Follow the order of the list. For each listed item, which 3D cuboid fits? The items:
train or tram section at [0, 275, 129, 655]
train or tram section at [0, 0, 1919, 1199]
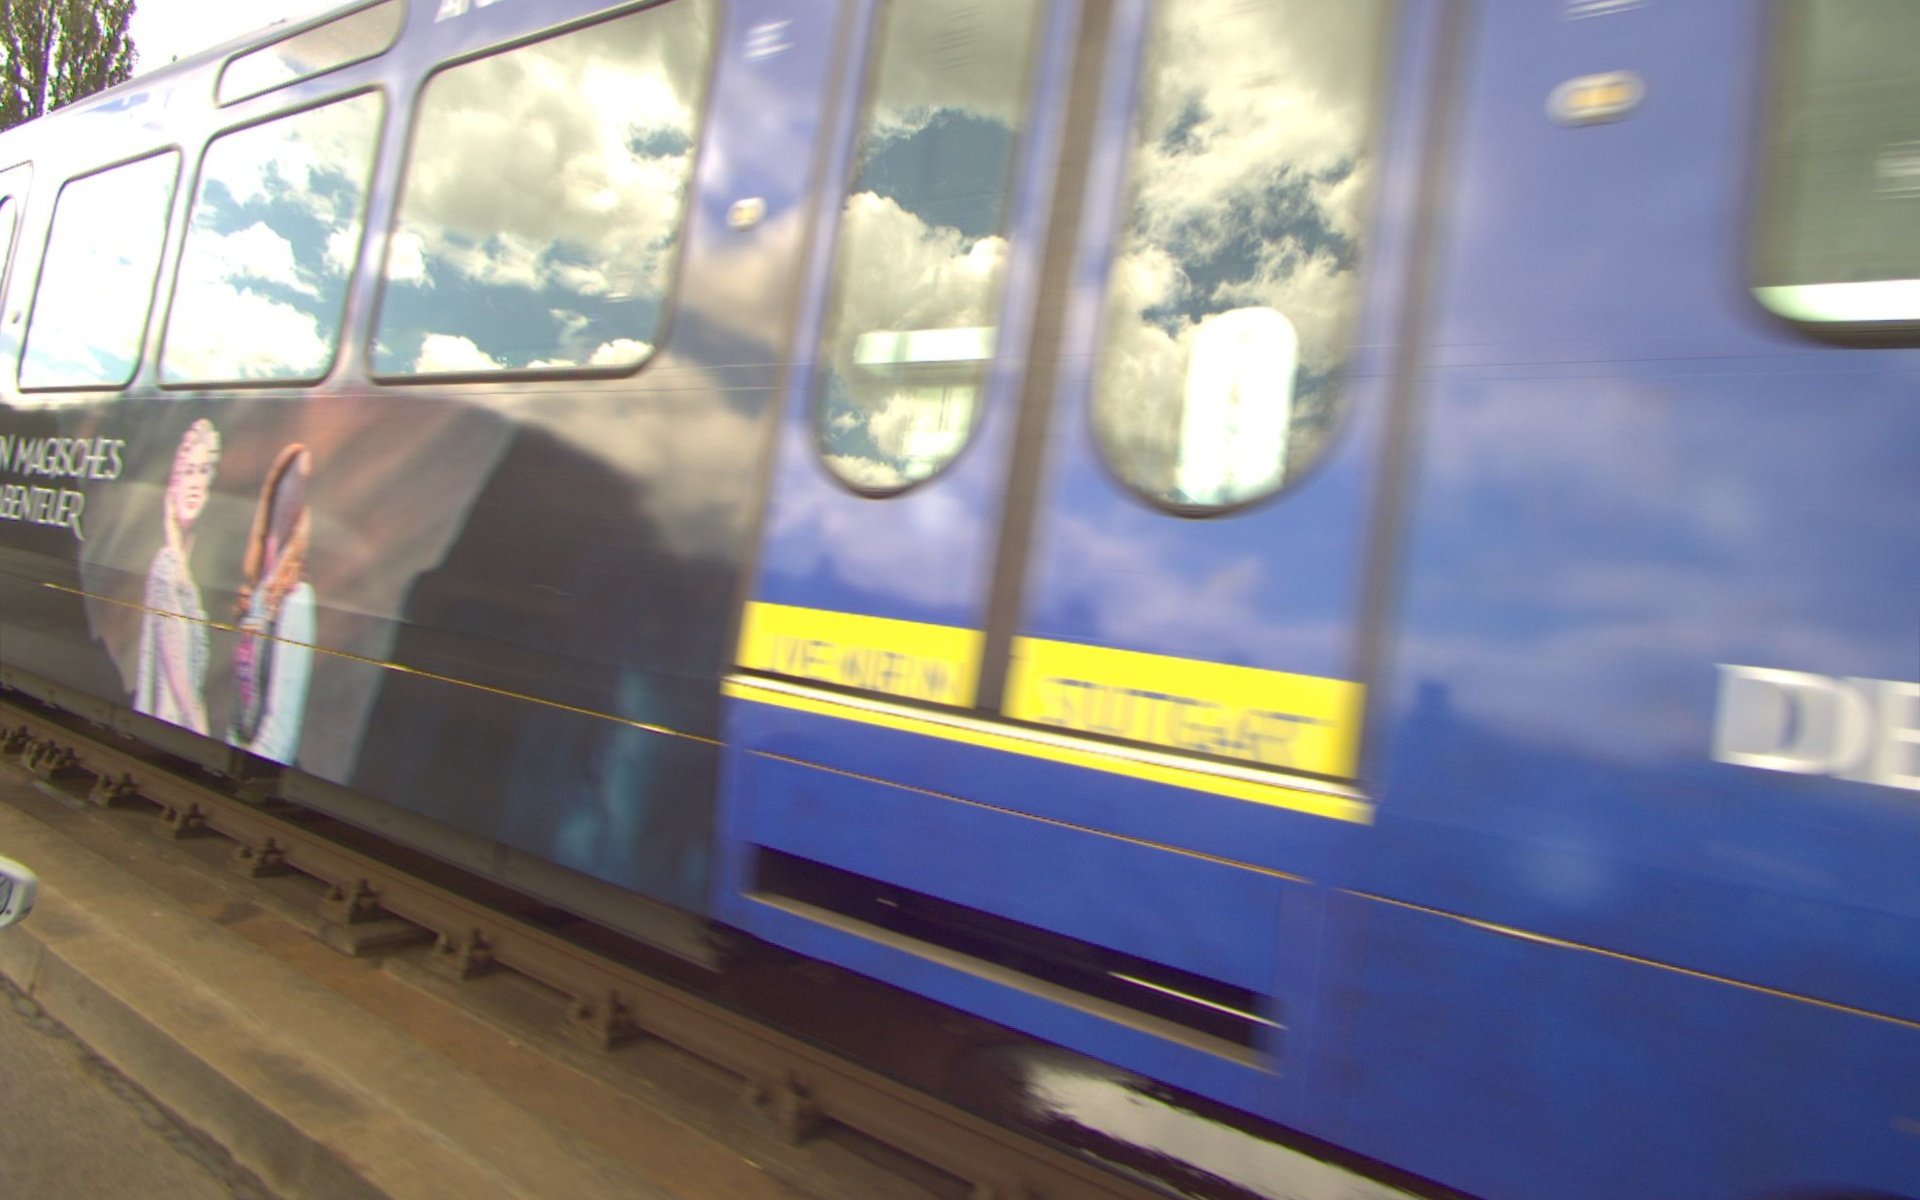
[{"bbox_3d":[-18.536,-2.363,14.838,19.557,3.806,2.801,6,-3,30],"label":"train or tram section"},{"bbox_3d":[-1.877,-0.559,4.805,19.560,3.701,2.788,6,0,31],"label":"train or tram section"}]
